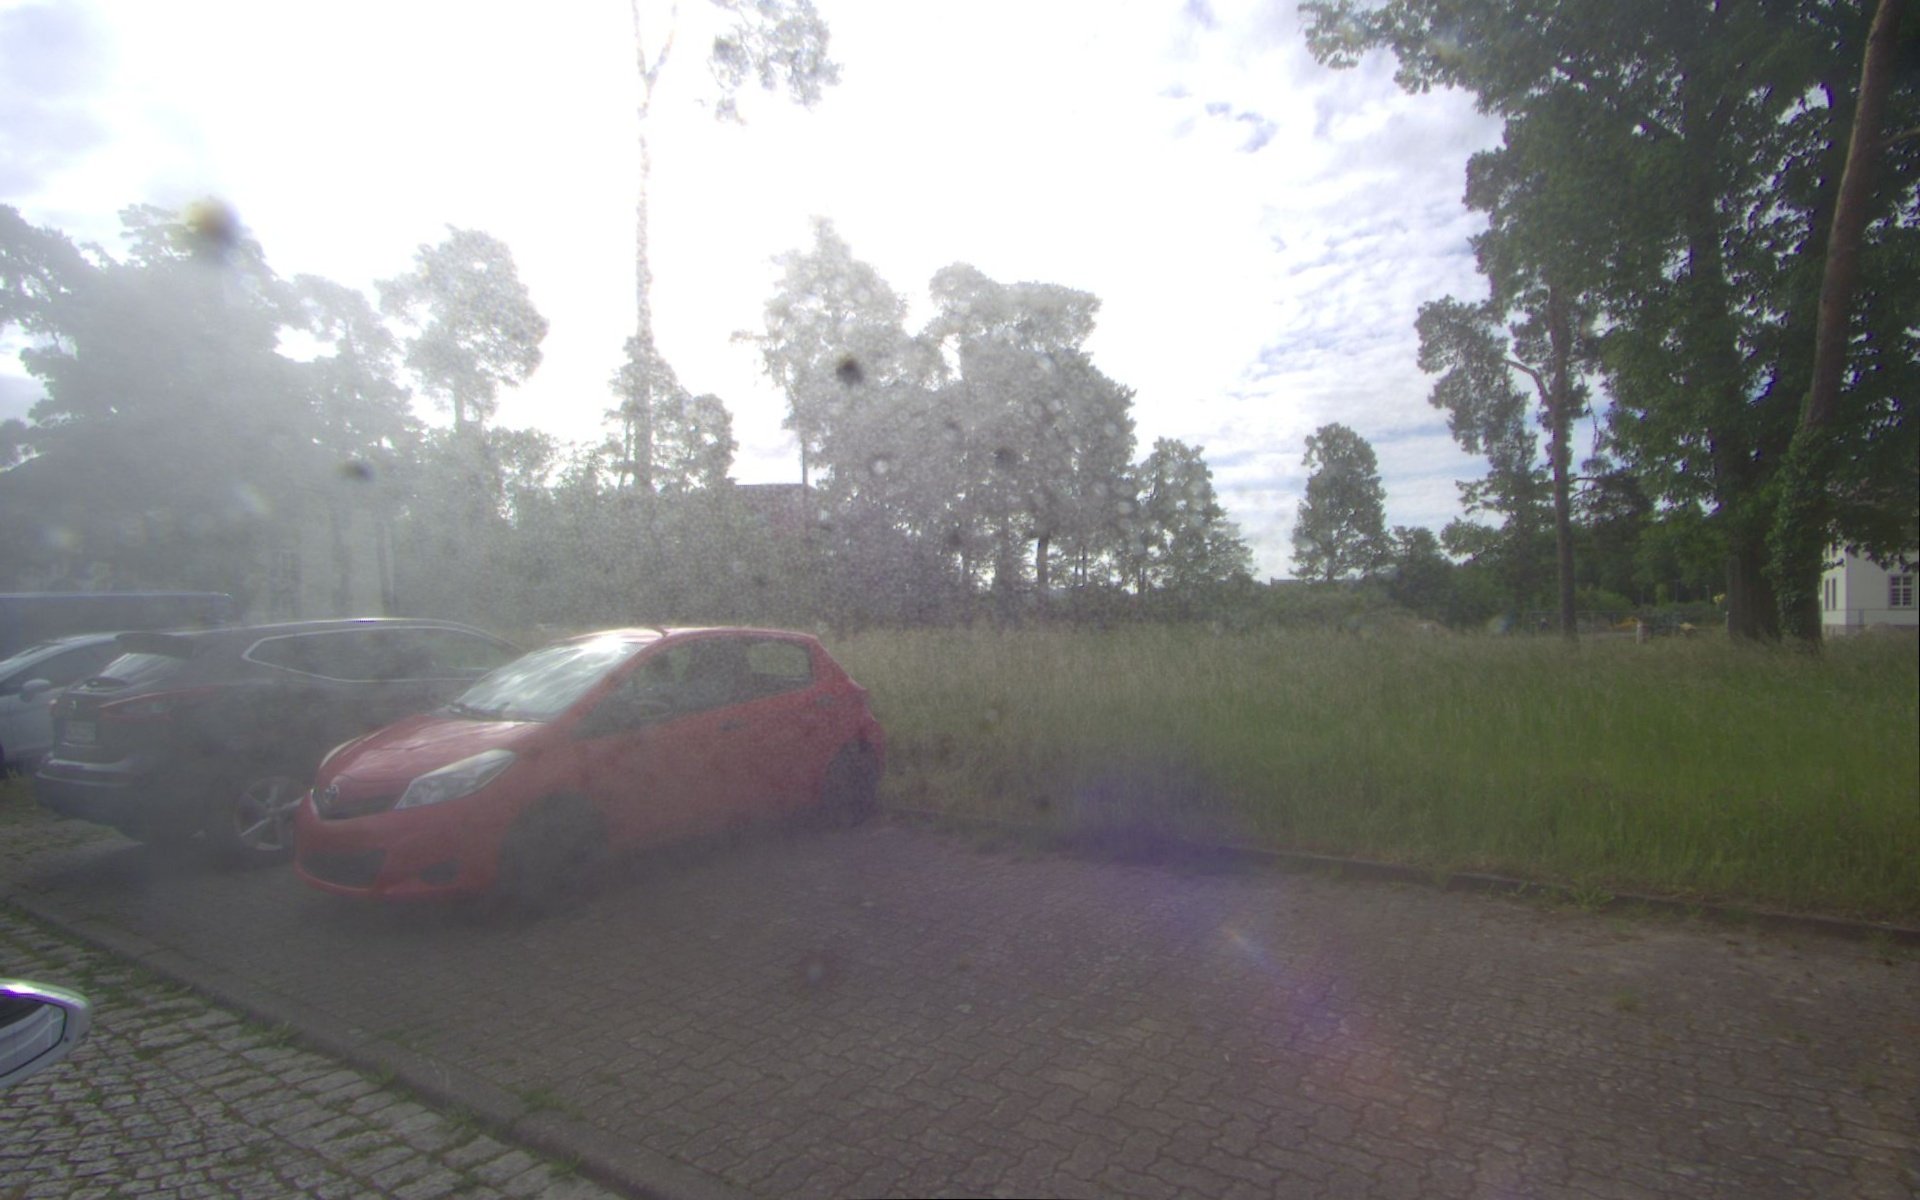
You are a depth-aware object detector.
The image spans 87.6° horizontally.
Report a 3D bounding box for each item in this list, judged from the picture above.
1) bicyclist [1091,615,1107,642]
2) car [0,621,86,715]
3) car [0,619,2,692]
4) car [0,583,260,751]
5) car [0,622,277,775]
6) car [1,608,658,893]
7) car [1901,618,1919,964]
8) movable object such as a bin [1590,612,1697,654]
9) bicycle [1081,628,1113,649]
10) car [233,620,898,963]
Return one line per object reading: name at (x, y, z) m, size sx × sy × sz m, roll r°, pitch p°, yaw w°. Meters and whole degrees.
bicyclist at (8.761, 1.792, 63.167) m, size 0.762 × 1.717 × 0.723 m, roll 0°, pitch -1°, yaw 34°
car at (-16.241, 1.105, 15.608) m, size 1.501 × 1.468 × 3.665 m, roll -1°, pitch 0°, yaw 31°
car at (-20.854, 1.133, 18.949) m, size 1.501 × 1.468 × 3.665 m, roll -1°, pitch 0°, yaw 31°
car at (-11.958, 0.807, 12.648) m, size 1.903 × 1.980 × 4.746 m, roll -1°, pitch 0°, yaw 31°
car at (-9.949, 1.025, 11.044) m, size 1.591 × 1.468 × 3.666 m, roll -1°, pitch 0°, yaw 30°
car at (-4.522, 0.883, 7.862) m, size 1.725 × 1.573 × 4.022 m, roll -1°, pitch 0°, yaw 30°
car at (3.983, 0.815, 2.423) m, size 1.754 × 1.479 × 3.818 m, roll -1°, pitch 0°, yaw 32°
movable object such as a bin at (46.633, 2.256, 68.468) m, size 2.138 × 2.689 × 5.966 m, roll 1°, pitch -2°, yaw -19°
bicycle at (8.628, 2.425, 63.203) m, size 1.905 × 1.244 × 0.722 m, roll -1°, pitch -2°, yaw 34°
car at (-2.229, 0.914, 6.605) m, size 1.726 × 1.479 × 3.783 m, roll -1°, pitch 0°, yaw 33°
